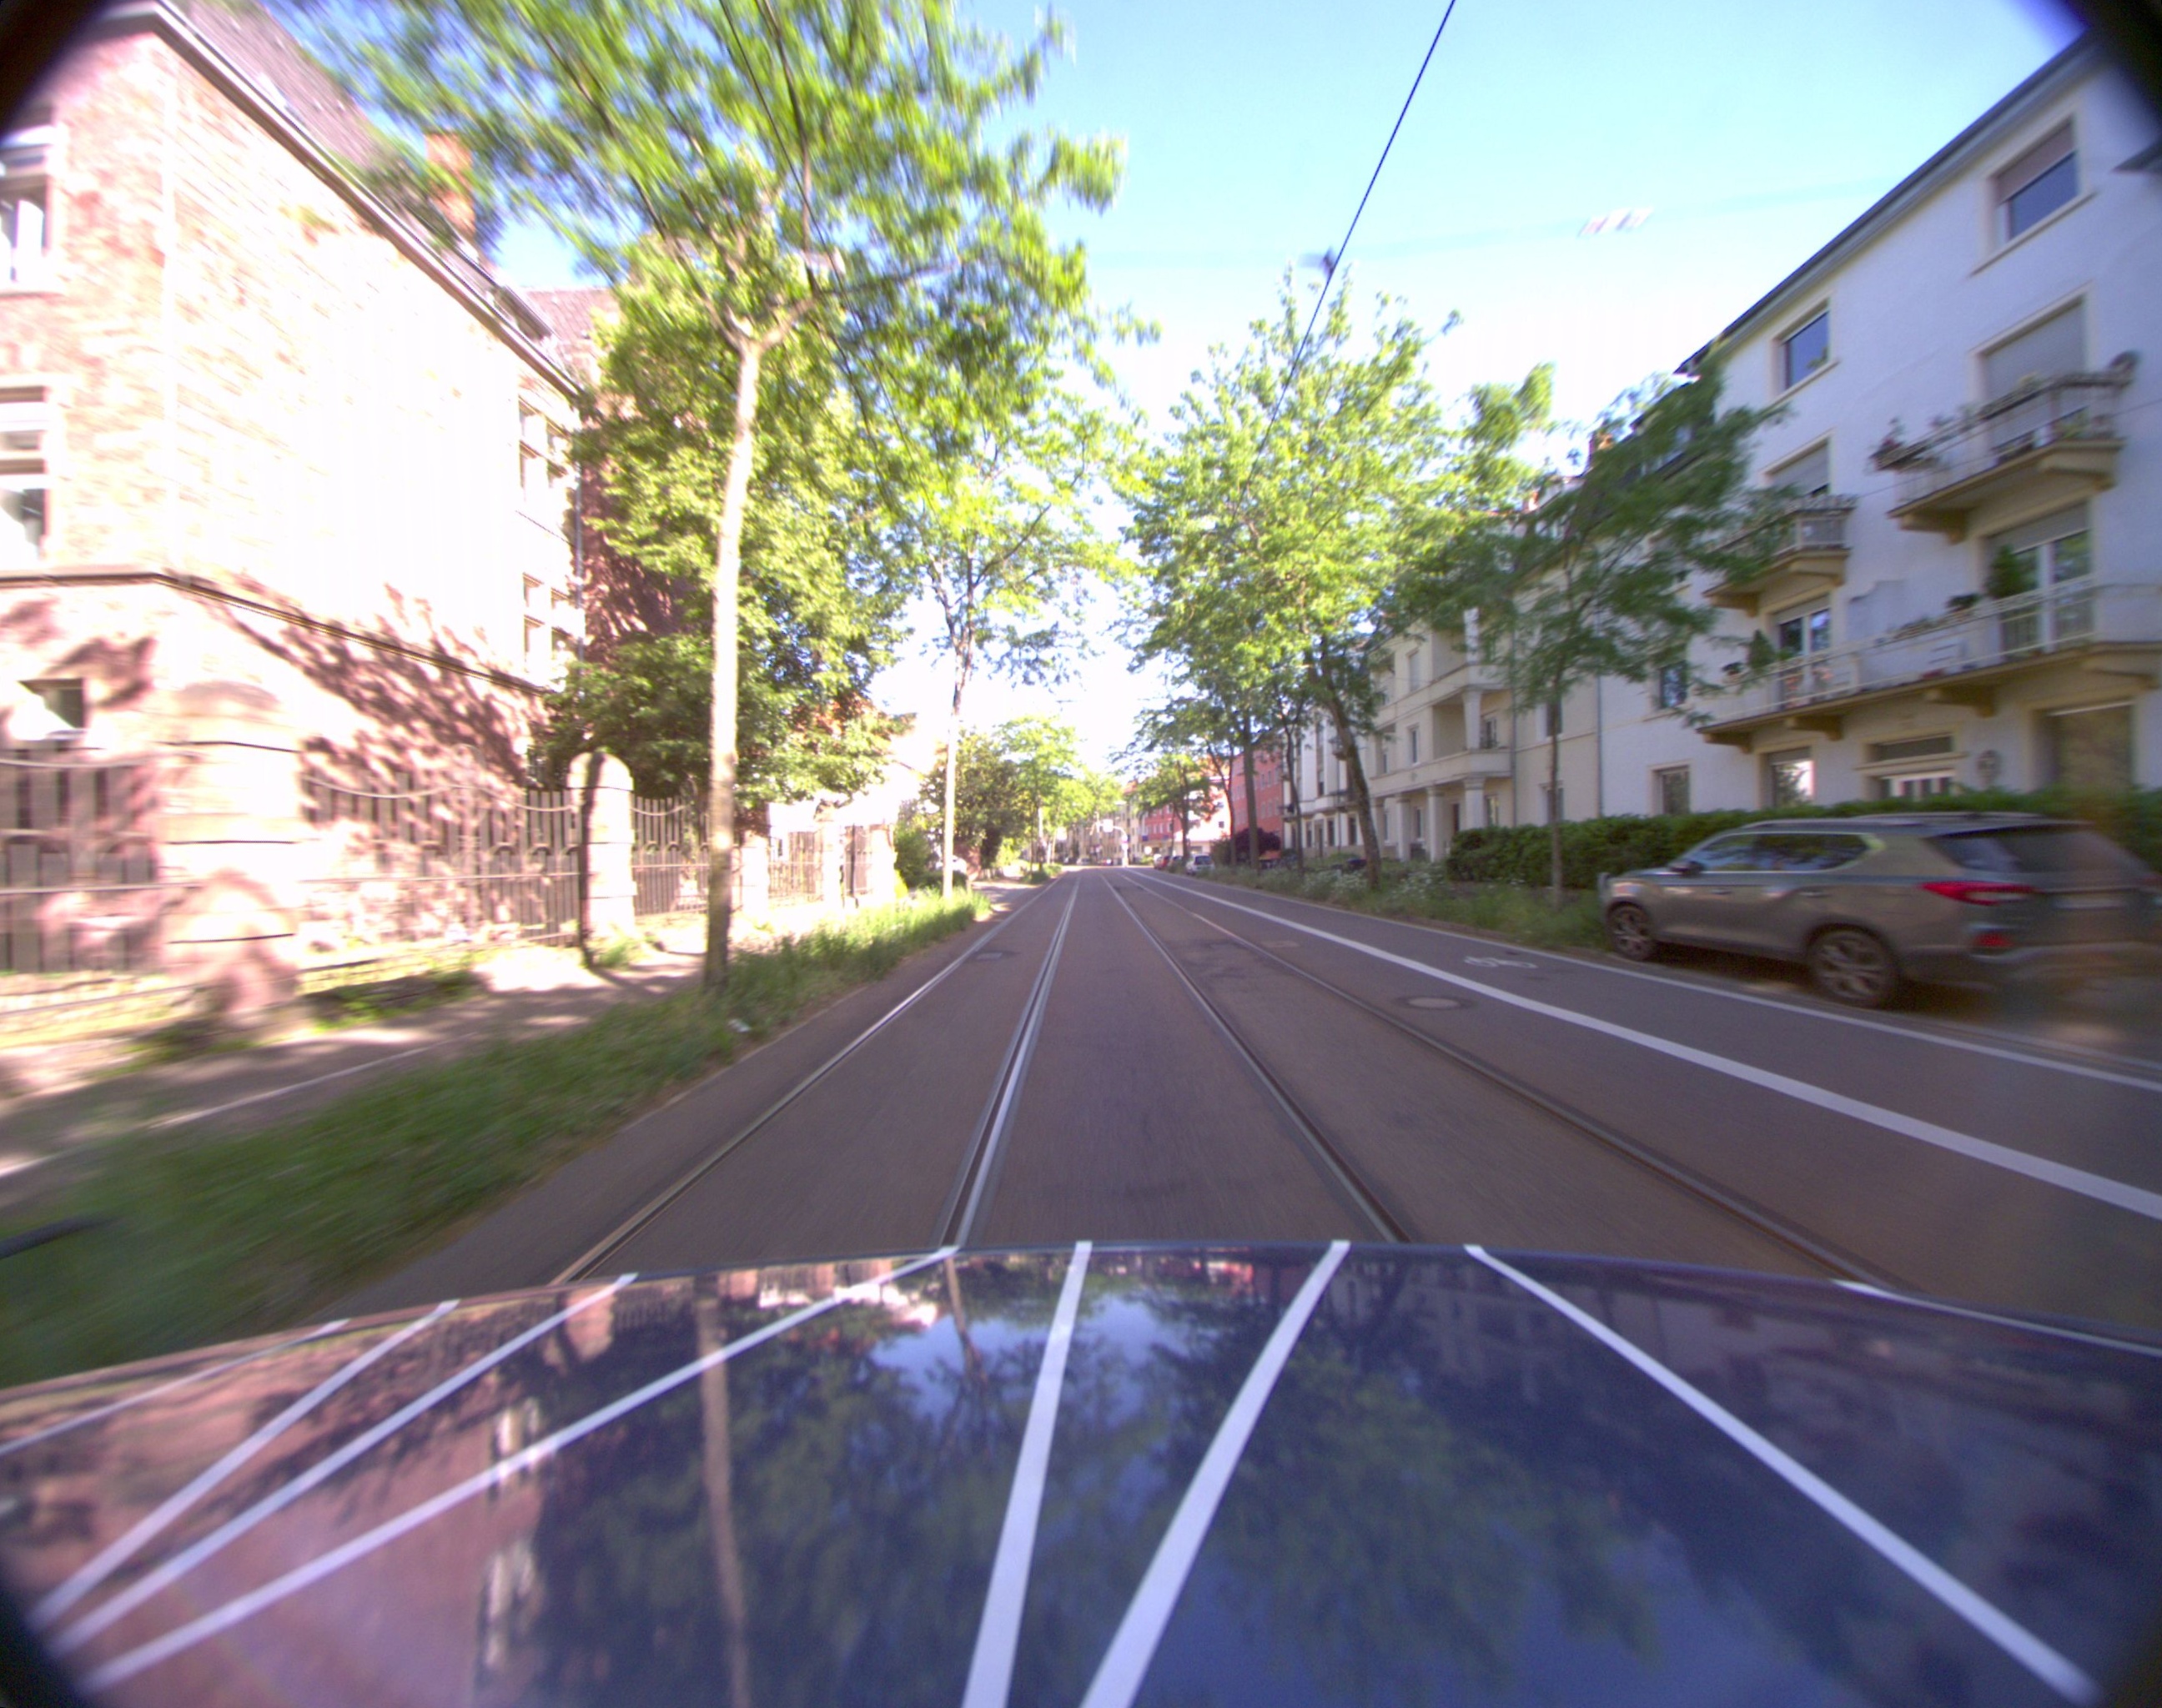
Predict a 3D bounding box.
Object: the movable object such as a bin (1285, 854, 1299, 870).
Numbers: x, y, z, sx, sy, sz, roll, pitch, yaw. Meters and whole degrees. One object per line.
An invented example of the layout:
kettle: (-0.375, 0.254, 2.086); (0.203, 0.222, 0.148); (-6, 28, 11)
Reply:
movable object such as a bin: (15.140, 0.563, 54.503); (0.739, 1.107, 0.895); (-1, 1, 1)

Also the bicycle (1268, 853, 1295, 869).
bicycle: (13.005, 0.419, 49.274); (1.865, 0.991, 0.557); (-1, 1, -33)

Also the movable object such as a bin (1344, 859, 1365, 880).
movable object such as a bin: (12.569, 0.703, 34.930); (0.629, 0.916, 0.740); (-3, 1, 1)

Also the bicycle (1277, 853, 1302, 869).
bicycle: (12.898, 0.428, 46.985); (1.866, 0.991, 0.557); (-2, 1, -43)

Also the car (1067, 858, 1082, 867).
car: (-1.180, 1.529, 138.323); (1.880, 1.390, 3.996); (-4, 0, -10)

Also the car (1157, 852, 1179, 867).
car: (8.802, 0.518, 77.416); (1.577, 1.446, 4.095); (-2, 0, -2)

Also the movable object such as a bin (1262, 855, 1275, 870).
movable object such as a bin: (13.451, 0.635, 54.496); (0.739, 1.048, 0.895); (-1, 1, 1)

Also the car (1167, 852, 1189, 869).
car: (8.722, 0.544, 68.454); (1.558, 1.446, 3.668); (-2, 0, 0)

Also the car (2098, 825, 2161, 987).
car: (13.282, 0.443, 7.272); (4.311, 1.651, 1.953); (-3, 0, 2)

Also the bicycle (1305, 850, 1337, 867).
bicycle: (15.369, 0.281, 48.666); (1.857, 0.990, 0.559); (-4, -1, 42)

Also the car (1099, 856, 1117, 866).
car: (4.211, 1.155, 118.422); (1.880, 1.390, 3.996); (-4, 0, -10)

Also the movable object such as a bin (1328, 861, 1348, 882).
movable object such as a bin: (11.872, 0.785, 35.133); (0.629, 0.916, 0.740); (-3, 1, 1)

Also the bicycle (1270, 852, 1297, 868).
bicycle: (13.423, 0.399, 50.333); (1.865, 0.991, 0.557); (-1, 1, -28)

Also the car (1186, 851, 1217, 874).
car: (8.895, 0.609, 56.476); (1.629, 1.526, 3.689); (-2, 0, -1)

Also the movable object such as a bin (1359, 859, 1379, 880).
movable object such as a bin: (13.214, 0.699, 34.895); (0.629, 0.916, 0.740); (-3, 1, 1)

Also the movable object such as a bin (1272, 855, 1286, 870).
movable object such as a bin: (14.217, 0.615, 54.493); (0.739, 1.078, 0.895); (-1, 1, 1)

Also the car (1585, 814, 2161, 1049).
car: (8.188, 0.601, 8.441); (1.875, 1.812, 4.770); (-2, 0, -1)

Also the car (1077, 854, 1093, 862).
car: (0.700, 0.698, 131.385); (1.880, 1.390, 3.996); (-4, 0, -10)

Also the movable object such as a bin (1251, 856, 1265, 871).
movable object such as a bin: (12.695, 0.664, 54.514); (0.739, 1.035, 0.895); (-1, 1, 1)

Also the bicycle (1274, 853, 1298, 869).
bicycle: (12.964, 0.444, 48.094); (1.866, 0.991, 0.557); (-2, 1, -43)
